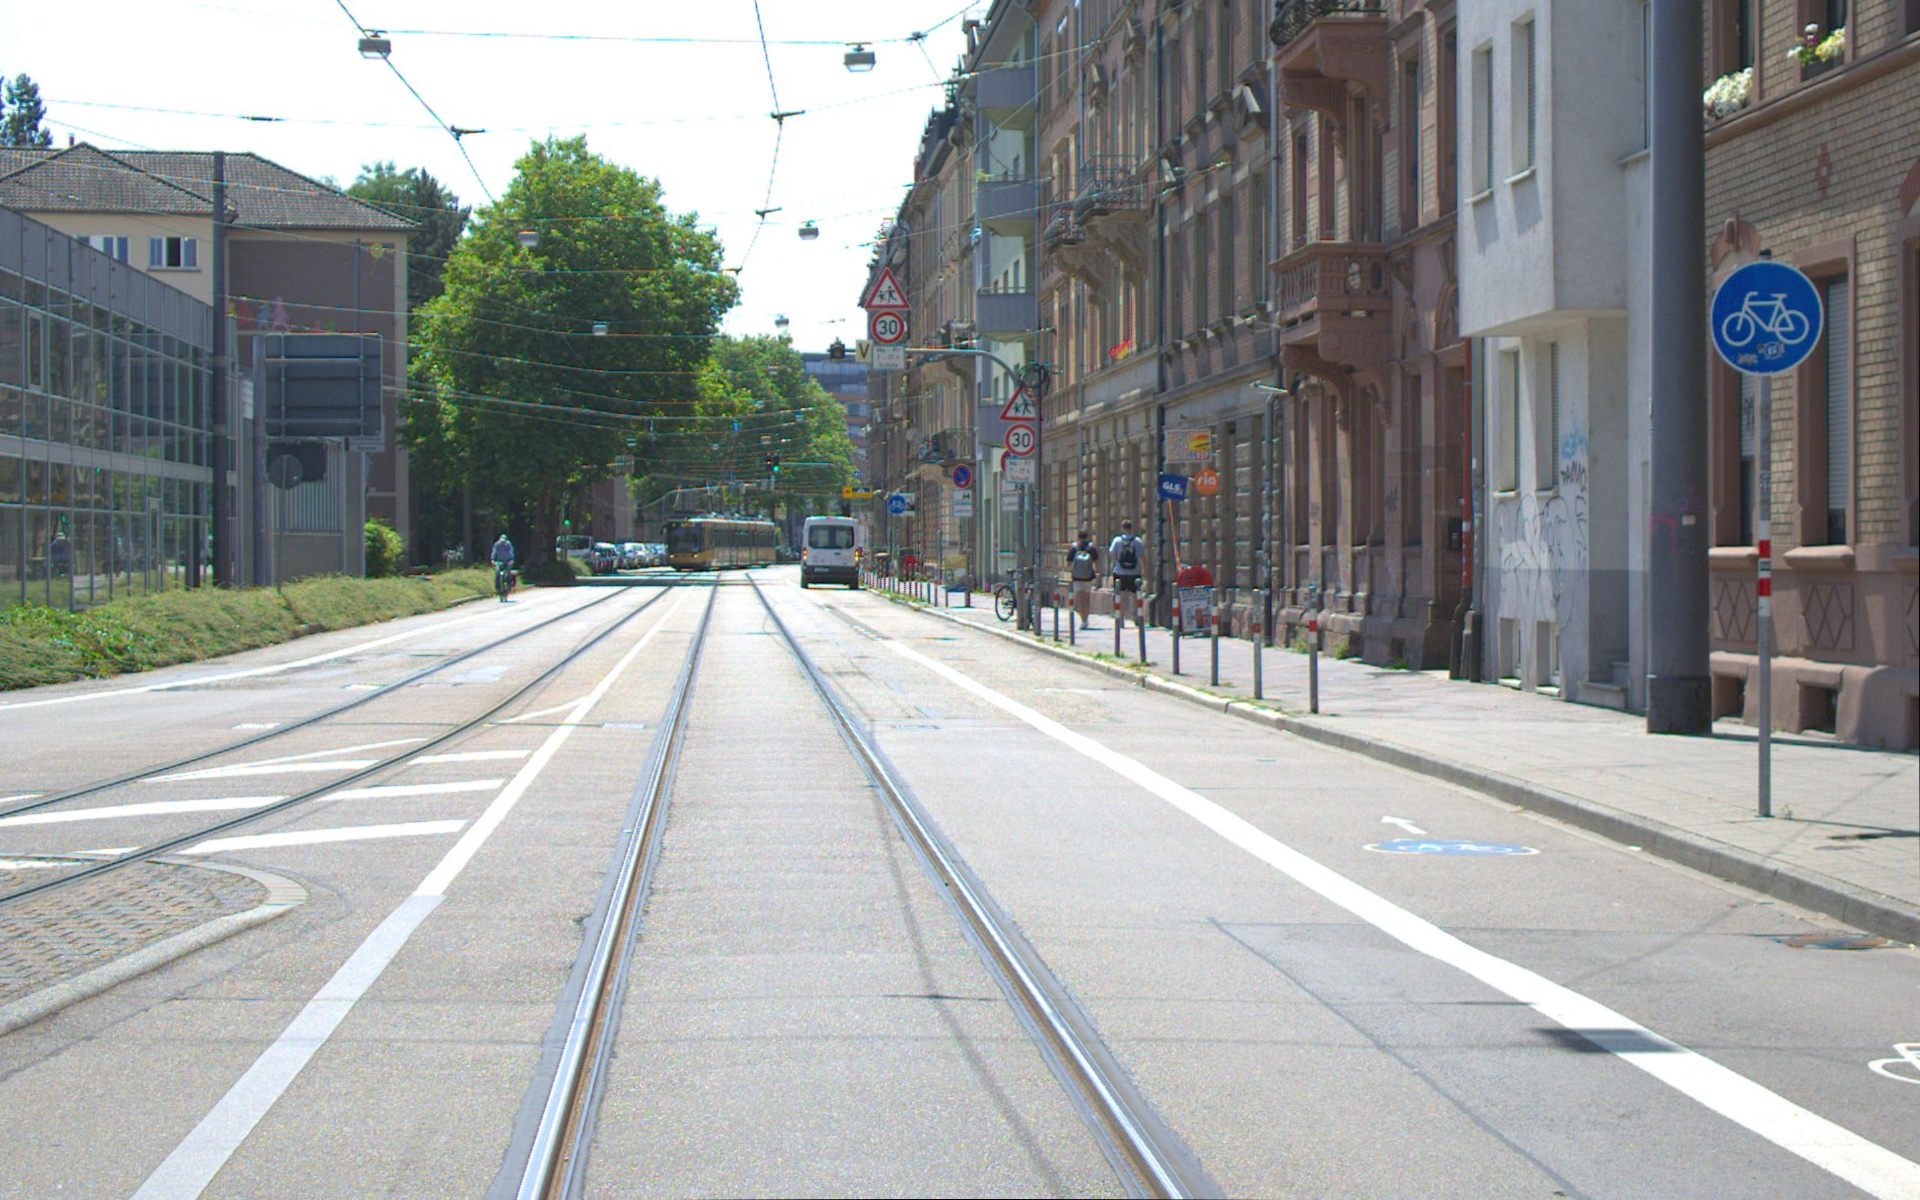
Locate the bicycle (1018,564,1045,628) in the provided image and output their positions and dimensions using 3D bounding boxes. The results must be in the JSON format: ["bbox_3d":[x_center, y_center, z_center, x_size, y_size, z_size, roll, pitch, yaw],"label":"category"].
[{"bbox_3d":[1.275,-0.075,61.039,0.447,1.093,2.423,-1,1,2],"label":"bicycle"}]

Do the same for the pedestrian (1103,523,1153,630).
[{"bbox_3d":[2.978,-0.424,60.951,0.702,1.842,0.644,-4,1,-2],"label":"pedestrian"}]

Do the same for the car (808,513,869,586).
[{"bbox_3d":[-4.341,-1.805,122.215,2.067,2.492,5.455,1,1,-3],"label":"car"}]

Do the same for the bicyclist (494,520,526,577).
[{"bbox_3d":[-12.283,-1.401,93.897,0.698,1.543,0.980,0,1,3],"label":"bicyclist"}]

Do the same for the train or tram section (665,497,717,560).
[{"bbox_3d":[-15.826,-4.188,202.471,2.960,3.568,13.425,0,1,-4],"label":"train or tram section"}]

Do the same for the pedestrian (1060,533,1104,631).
[{"bbox_3d":[2.156,-0.326,61.016,0.720,1.714,0.644,0,1,-2],"label":"pedestrian"}]

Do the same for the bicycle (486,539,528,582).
[{"bbox_3d":[-12.371,-1.089,93.886,0.698,1.140,2.495,0,1,3],"label":"bicycle"}]

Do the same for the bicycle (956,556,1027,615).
[{"bbox_3d":[0.632,-0.302,68.070,0.499,1.127,2.240,0,1,25],"label":"bicycle"}]
